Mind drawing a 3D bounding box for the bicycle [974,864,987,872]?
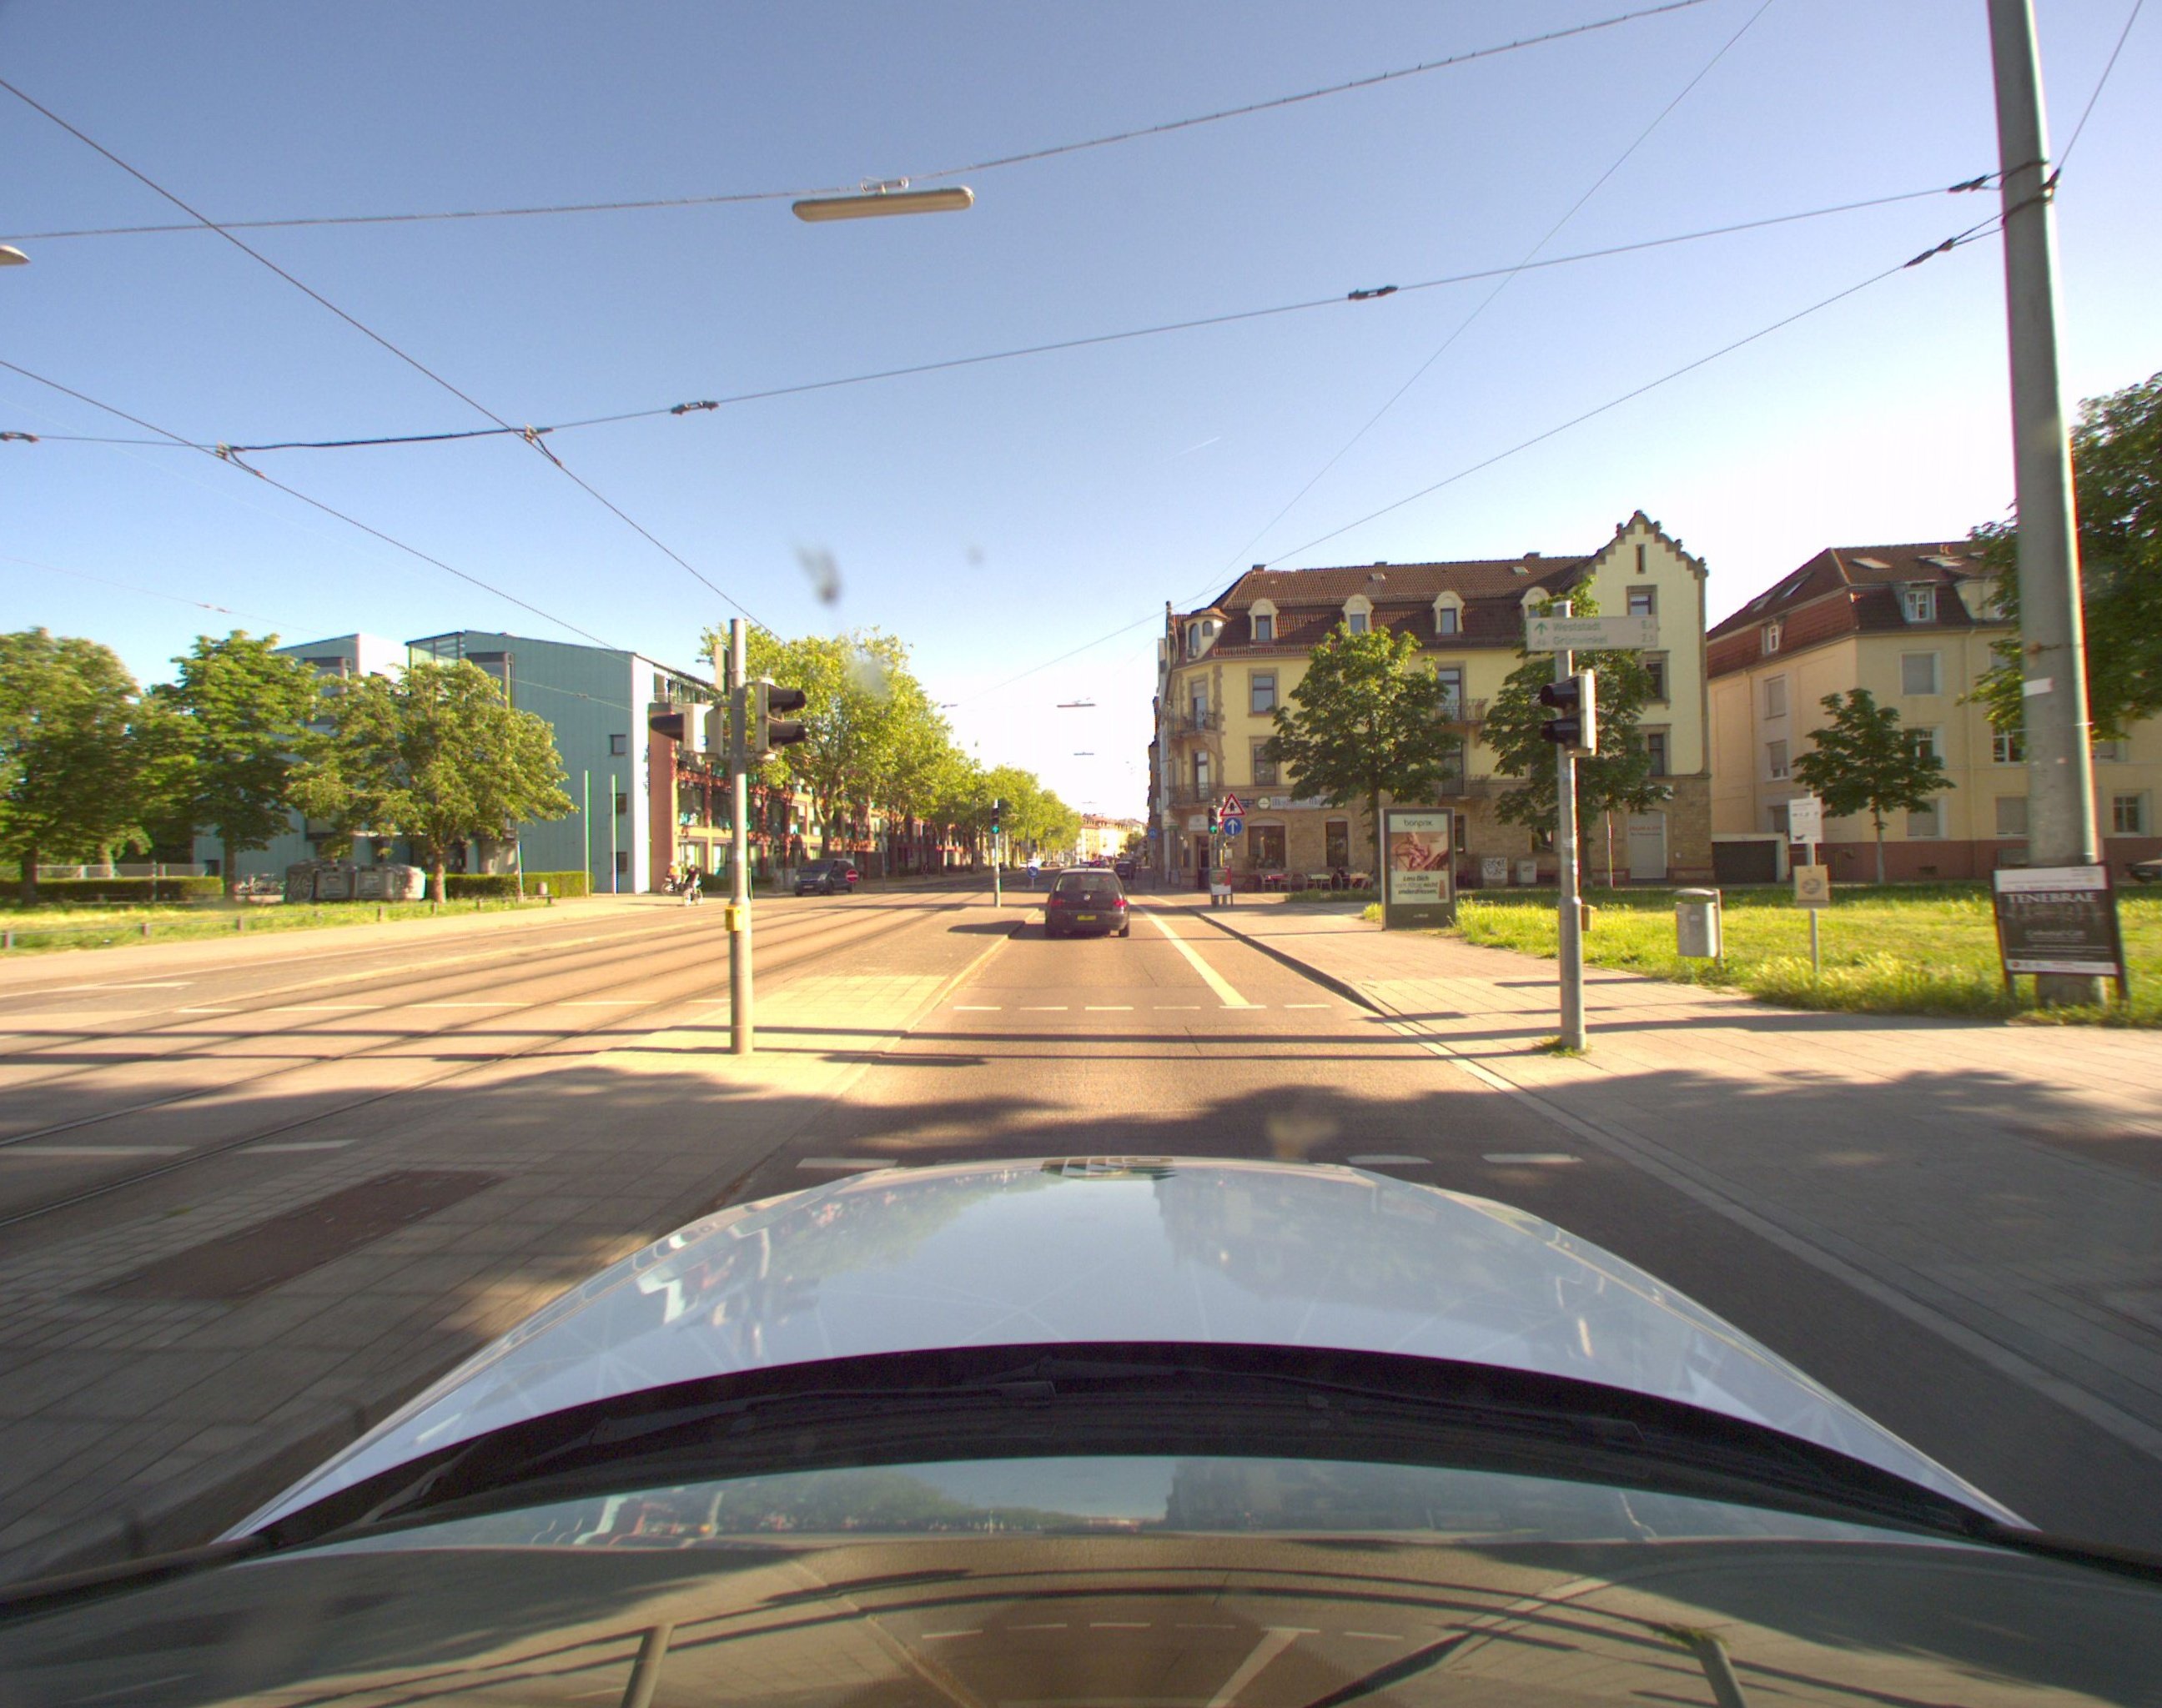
[{"bbox_3d":[-16.419,2.272,133.276,1.999,1.278,0.665,0,0,4],"label":"bicycle"}]

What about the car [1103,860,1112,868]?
[{"bbox_3d":[4.973,1.879,152.209,1.629,1.472,3.733,-1,0,4],"label":"car"}]

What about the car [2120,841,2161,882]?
[{"bbox_3d":[45.084,0.323,32.772,3.819,1.605,1.832,1,2,7],"label":"car"}]

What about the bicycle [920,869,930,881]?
[{"bbox_3d":[-14.214,1.867,74.260,0.644,1.042,1.922,1,0,-4],"label":"bicycle"}]

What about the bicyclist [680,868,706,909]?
[{"bbox_3d":[-16.435,1.446,34.501,0.585,1.711,0.901,-2,0,1],"label":"bicyclist"}]

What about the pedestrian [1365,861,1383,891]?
[{"bbox_3d":[13.792,1.035,38.331,0.635,1.360,0.702,1,0,5],"label":"pedestrian"}]

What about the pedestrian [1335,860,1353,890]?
[{"bbox_3d":[12.364,0.978,38.331,0.635,1.360,0.702,1,0,5],"label":"pedestrian"}]

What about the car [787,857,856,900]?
[{"bbox_3d":[-13.912,1.248,44.012,2.014,2.013,5.248,-3,1,-1],"label":"car"}]

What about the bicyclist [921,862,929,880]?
[{"bbox_3d":[-14.213,1.577,74.251,0.644,1.611,0.779,1,0,-5],"label":"bicyclist"}]

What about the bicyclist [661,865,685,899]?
[{"bbox_3d":[-20.943,1.417,41.816,0.599,1.692,0.938,1,0,29],"label":"bicyclist"}]

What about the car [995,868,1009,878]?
[{"bbox_3d":[-12.313,2.923,126.608,1.500,1.454,3.466,-2,-2,4],"label":"car"}]

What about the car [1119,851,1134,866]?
[{"bbox_3d":[5.769,0.560,102.633,1.745,1.855,4.821,0,0,4],"label":"car"}]

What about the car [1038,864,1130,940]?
[{"bbox_3d":[0.150,0.952,17.621,1.741,1.375,4.003,-1,0,3],"label":"car"}]

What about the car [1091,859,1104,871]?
[{"bbox_3d":[2.268,1.475,110.638,1.629,1.472,3.733,-1,0,4],"label":"car"}]

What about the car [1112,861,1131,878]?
[{"bbox_3d":[3.578,1.360,71.648,1.648,1.482,4.004,0,0,4],"label":"car"}]

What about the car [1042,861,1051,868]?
[{"bbox_3d":[-7.878,2.328,185.338,1.563,1.533,3.576,-1,-1,4],"label":"car"}]

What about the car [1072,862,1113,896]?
[{"bbox_3d":[0.629,1.180,40.348,1.740,1.538,3.896,-1,0,4],"label":"car"}]

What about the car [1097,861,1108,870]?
[{"bbox_3d":[3.477,1.832,130.896,1.629,1.472,3.733,-1,-1,4],"label":"car"}]

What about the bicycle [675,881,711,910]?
[{"bbox_3d":[-16.417,1.742,34.514,0.585,1.113,1.827,-2,0,1],"label":"bicycle"}]

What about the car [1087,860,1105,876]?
[{"bbox_3d":[1.520,1.366,80.689,1.629,1.472,3.733,-1,0,4],"label":"car"}]

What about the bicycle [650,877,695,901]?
[{"bbox_3d":[-20.960,1.797,41.795,0.625,1.129,2.048,1,0,29],"label":"bicycle"}]

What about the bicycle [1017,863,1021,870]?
[{"bbox_3d":[-11.082,2.272,145.247,0.579,1.209,1.652,1,0,-2],"label":"bicycle"}]

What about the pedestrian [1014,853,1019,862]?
[{"bbox_3d":[-13.610,0.768,171.914,0.793,1.820,0.671,1,0,4],"label":"pedestrian"}]

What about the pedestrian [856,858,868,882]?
[{"bbox_3d":[-19.105,1.379,71.107,0.909,2.013,0.779,1,0,-5],"label":"pedestrian"}]

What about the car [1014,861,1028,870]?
[{"bbox_3d":[-11.098,2.138,150.822,2.003,1.572,4.696,1,0,3],"label":"car"}]

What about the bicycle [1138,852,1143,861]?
[{"bbox_3d":[7.311,0.311,100.092,0.512,1.139,2.261,-3,0,3],"label":"bicycle"}]
